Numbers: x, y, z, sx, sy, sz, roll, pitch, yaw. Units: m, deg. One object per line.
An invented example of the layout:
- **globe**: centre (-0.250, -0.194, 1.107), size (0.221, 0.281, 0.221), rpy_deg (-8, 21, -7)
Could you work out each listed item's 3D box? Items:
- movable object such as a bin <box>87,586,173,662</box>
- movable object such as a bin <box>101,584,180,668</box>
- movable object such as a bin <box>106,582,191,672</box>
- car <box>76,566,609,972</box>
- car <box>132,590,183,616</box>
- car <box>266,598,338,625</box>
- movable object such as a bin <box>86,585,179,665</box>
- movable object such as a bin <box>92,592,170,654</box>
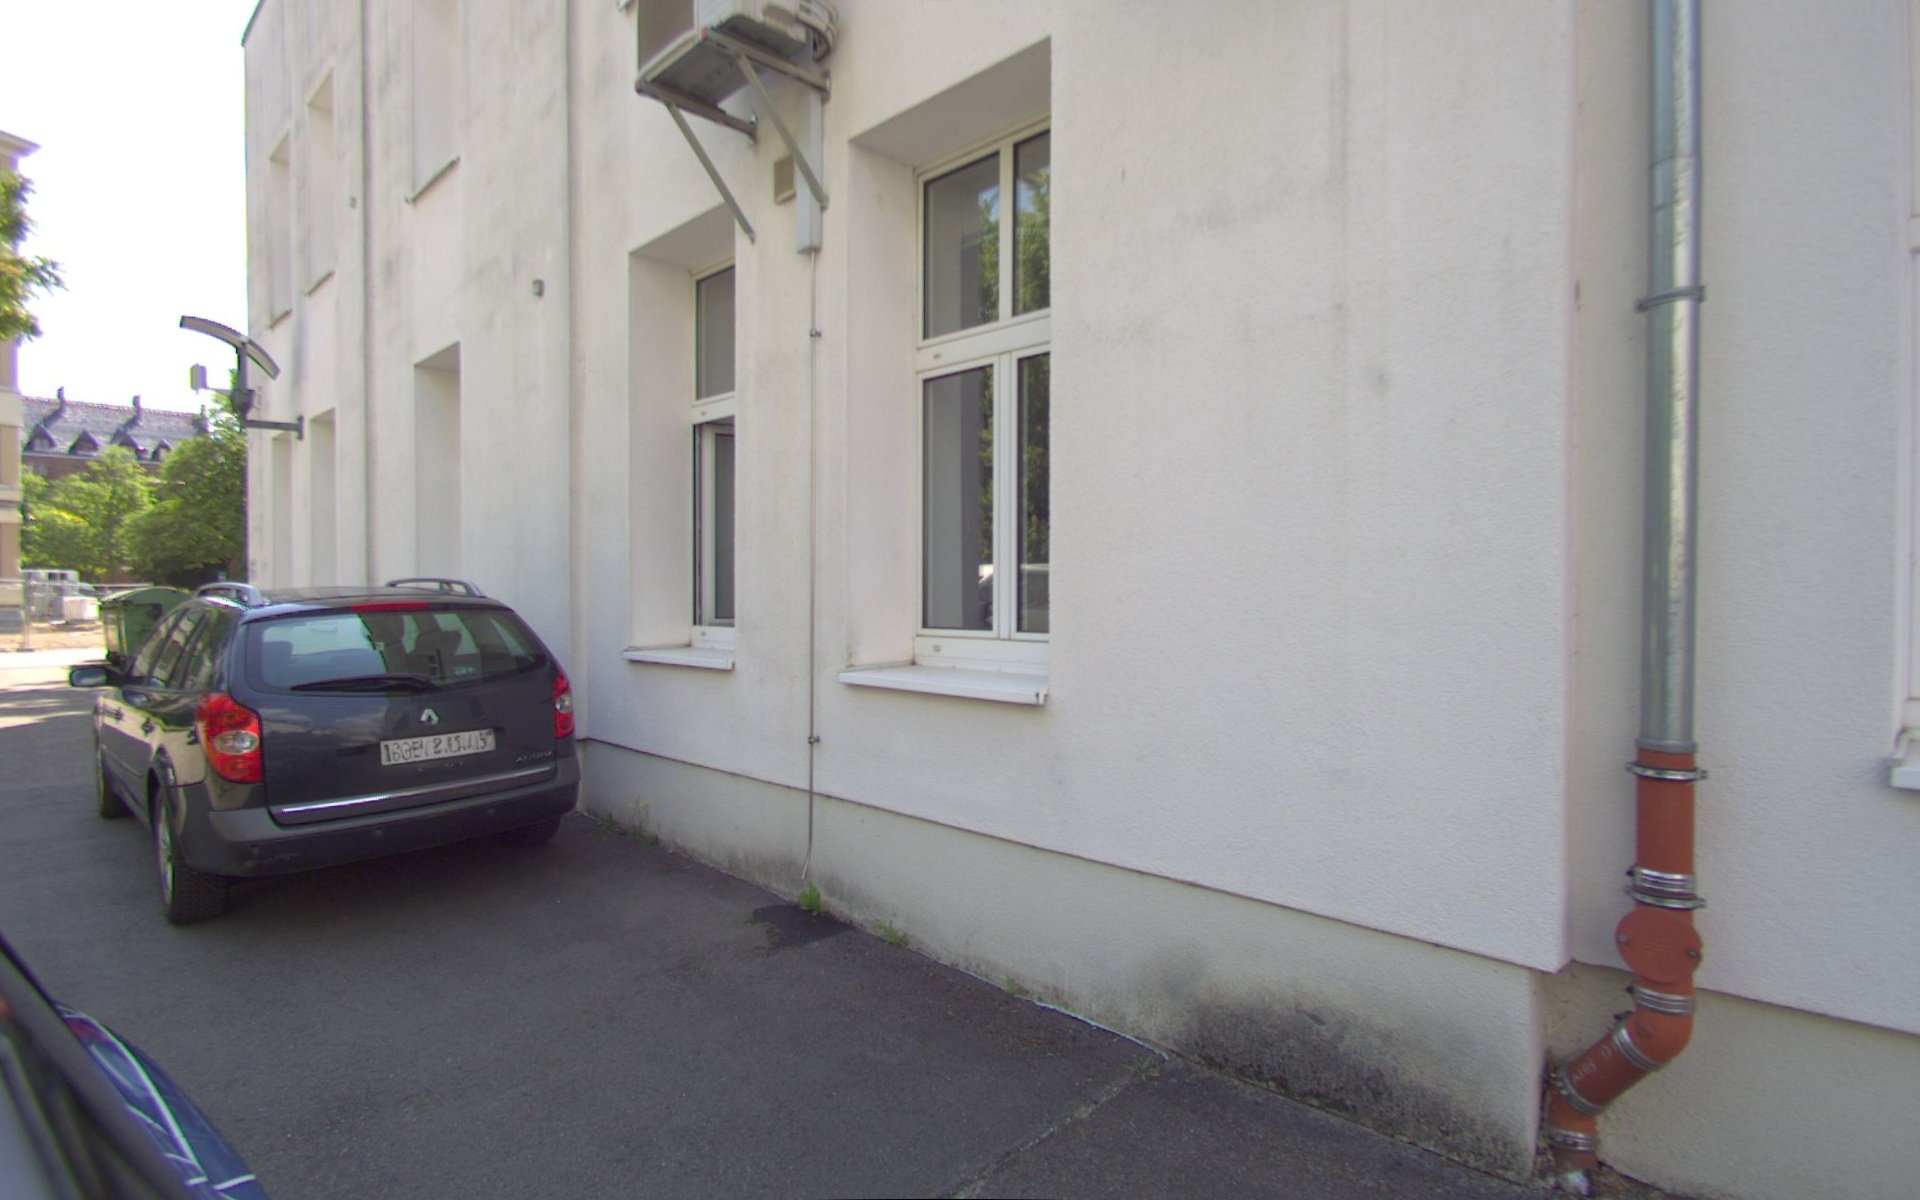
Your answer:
- **movable object such as a bin**: centre (-16.980, 0.472, 20.703), size (1.325, 1.490, 1.191), rpy_deg (0, 0, 43)
- **movable object such as a bin**: centre (-15.125, 0.458, 18.675), size (1.032, 1.490, 1.263), rpy_deg (0, 0, -44)
- **movable object such as a bin**: centre (-14.106, 0.450, 17.582), size (1.032, 1.490, 1.411), rpy_deg (0, 0, -44)
- **car**: centre (-3.796, 0.602, 5.791), size (1.734, 1.440, 4.390), rpy_deg (-1, 0, -43)
- **car**: centre (-65.779, 0.232, 83.035), size (1.966, 2.029, 4.012), rpy_deg (-1, 0, -17)
- **car**: centre (-36.553, 0.638, 56.207), size (3.558, 1.451, 1.611), rpy_deg (0, 0, 22)
- **movable object such as a bin**: centre (-16.083, 0.465, 19.682), size (1.357, 1.490, 1.083), rpy_deg (0, 0, 35)
- **movable object such as a bin**: centre (-19.234, 0.513, 23.518), size (1.097, 1.404, 1.164), rpy_deg (0, 0, -21)
